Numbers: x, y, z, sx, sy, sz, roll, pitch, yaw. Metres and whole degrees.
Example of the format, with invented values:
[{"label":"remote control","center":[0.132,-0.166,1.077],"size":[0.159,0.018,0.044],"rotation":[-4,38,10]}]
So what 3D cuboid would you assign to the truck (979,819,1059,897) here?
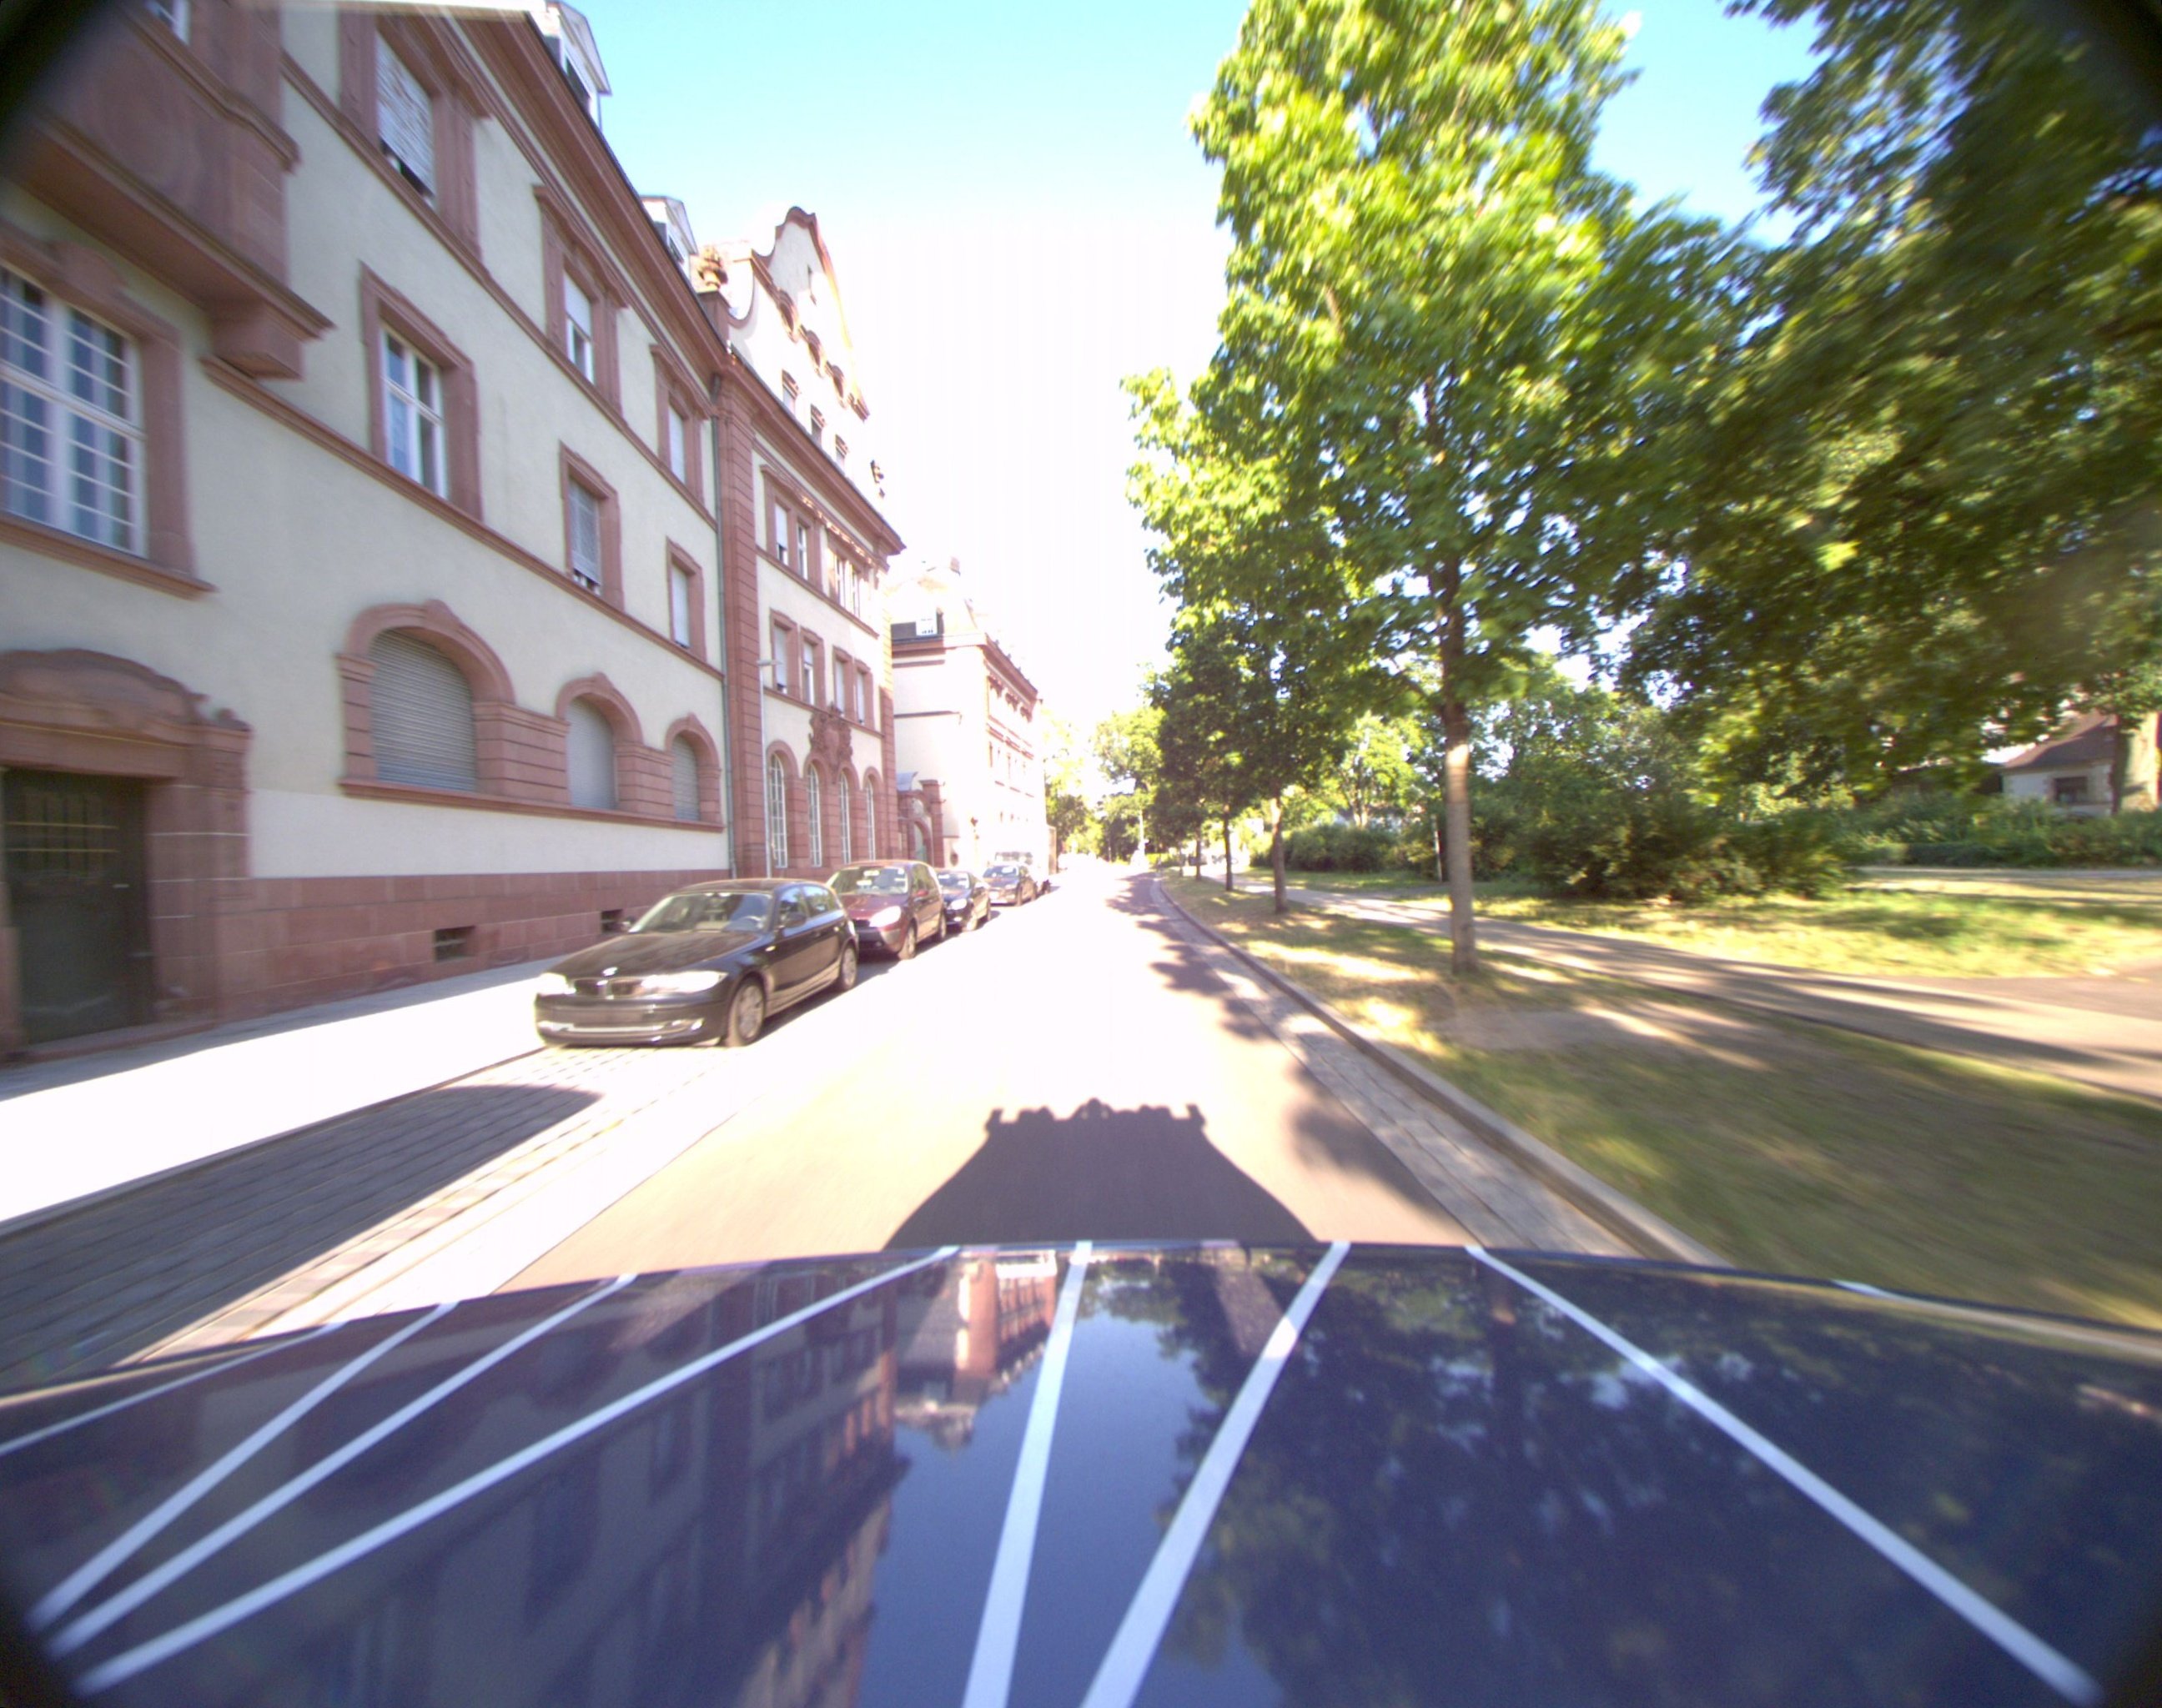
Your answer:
[{"label":"truck","center":[-2.564,0.164,33.265],"size":[2.629,3.102,6.089],"rotation":[0,0,4]}]

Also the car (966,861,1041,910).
[{"label":"car","center":[-2.686,1.051,27.455],"size":[1.772,1.521,4.574],"rotation":[-2,0,6]}]

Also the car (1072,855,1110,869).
[{"label":"car","center":[1.244,0.934,94.018],"size":[4.347,1.525,1.782],"rotation":[-2,-1,-12]}]

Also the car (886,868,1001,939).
[{"label":"car","center":[-3.185,1.104,18.558],"size":[1.876,1.428,4.523],"rotation":[-1,0,1]}]

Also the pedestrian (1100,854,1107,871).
[{"label":"pedestrian","center":[2.510,0.968,84.220],"size":[0.613,1.828,0.726],"rotation":[-2,-2,-9]}]

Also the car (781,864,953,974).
[{"label":"car","center":[-3.548,1.001,13.470],"size":[1.820,1.593,4.192],"rotation":[-1,0,0]}]

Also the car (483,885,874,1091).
[{"label":"car","center":[-3.641,1.110,7.888],"size":[1.683,1.394,4.200],"rotation":[-1,0,2]}]

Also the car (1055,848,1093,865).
[{"label":"car","center":[-1.197,0.408,128.886],"size":[5.912,2.684,2.218],"rotation":[-2,0,-13]}]

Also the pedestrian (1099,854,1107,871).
[{"label":"pedestrian","center":[2.423,0.965,83.420],"size":[0.717,1.829,0.790],"rotation":[-2,-1,-9]}]

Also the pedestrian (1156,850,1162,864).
[{"label":"pedestrian","center":[9.790,0.379,95.385],"size":[0.435,1.764,0.666],"rotation":[-3,0,-7]}]

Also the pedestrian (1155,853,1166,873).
[{"label":"pedestrian","center":[6.854,0.783,65.881],"size":[0.534,1.708,1.002],"rotation":[-4,-1,-12]}]

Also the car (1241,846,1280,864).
[{"label":"car","center":[21.992,0.136,93.064],"size":[4.239,1.905,1.761],"rotation":[-2,0,-11]}]

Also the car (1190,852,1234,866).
[{"label":"car","center":[15.761,0.601,91.656],"size":[4.839,1.549,1.866],"rotation":[-2,0,-11]}]
